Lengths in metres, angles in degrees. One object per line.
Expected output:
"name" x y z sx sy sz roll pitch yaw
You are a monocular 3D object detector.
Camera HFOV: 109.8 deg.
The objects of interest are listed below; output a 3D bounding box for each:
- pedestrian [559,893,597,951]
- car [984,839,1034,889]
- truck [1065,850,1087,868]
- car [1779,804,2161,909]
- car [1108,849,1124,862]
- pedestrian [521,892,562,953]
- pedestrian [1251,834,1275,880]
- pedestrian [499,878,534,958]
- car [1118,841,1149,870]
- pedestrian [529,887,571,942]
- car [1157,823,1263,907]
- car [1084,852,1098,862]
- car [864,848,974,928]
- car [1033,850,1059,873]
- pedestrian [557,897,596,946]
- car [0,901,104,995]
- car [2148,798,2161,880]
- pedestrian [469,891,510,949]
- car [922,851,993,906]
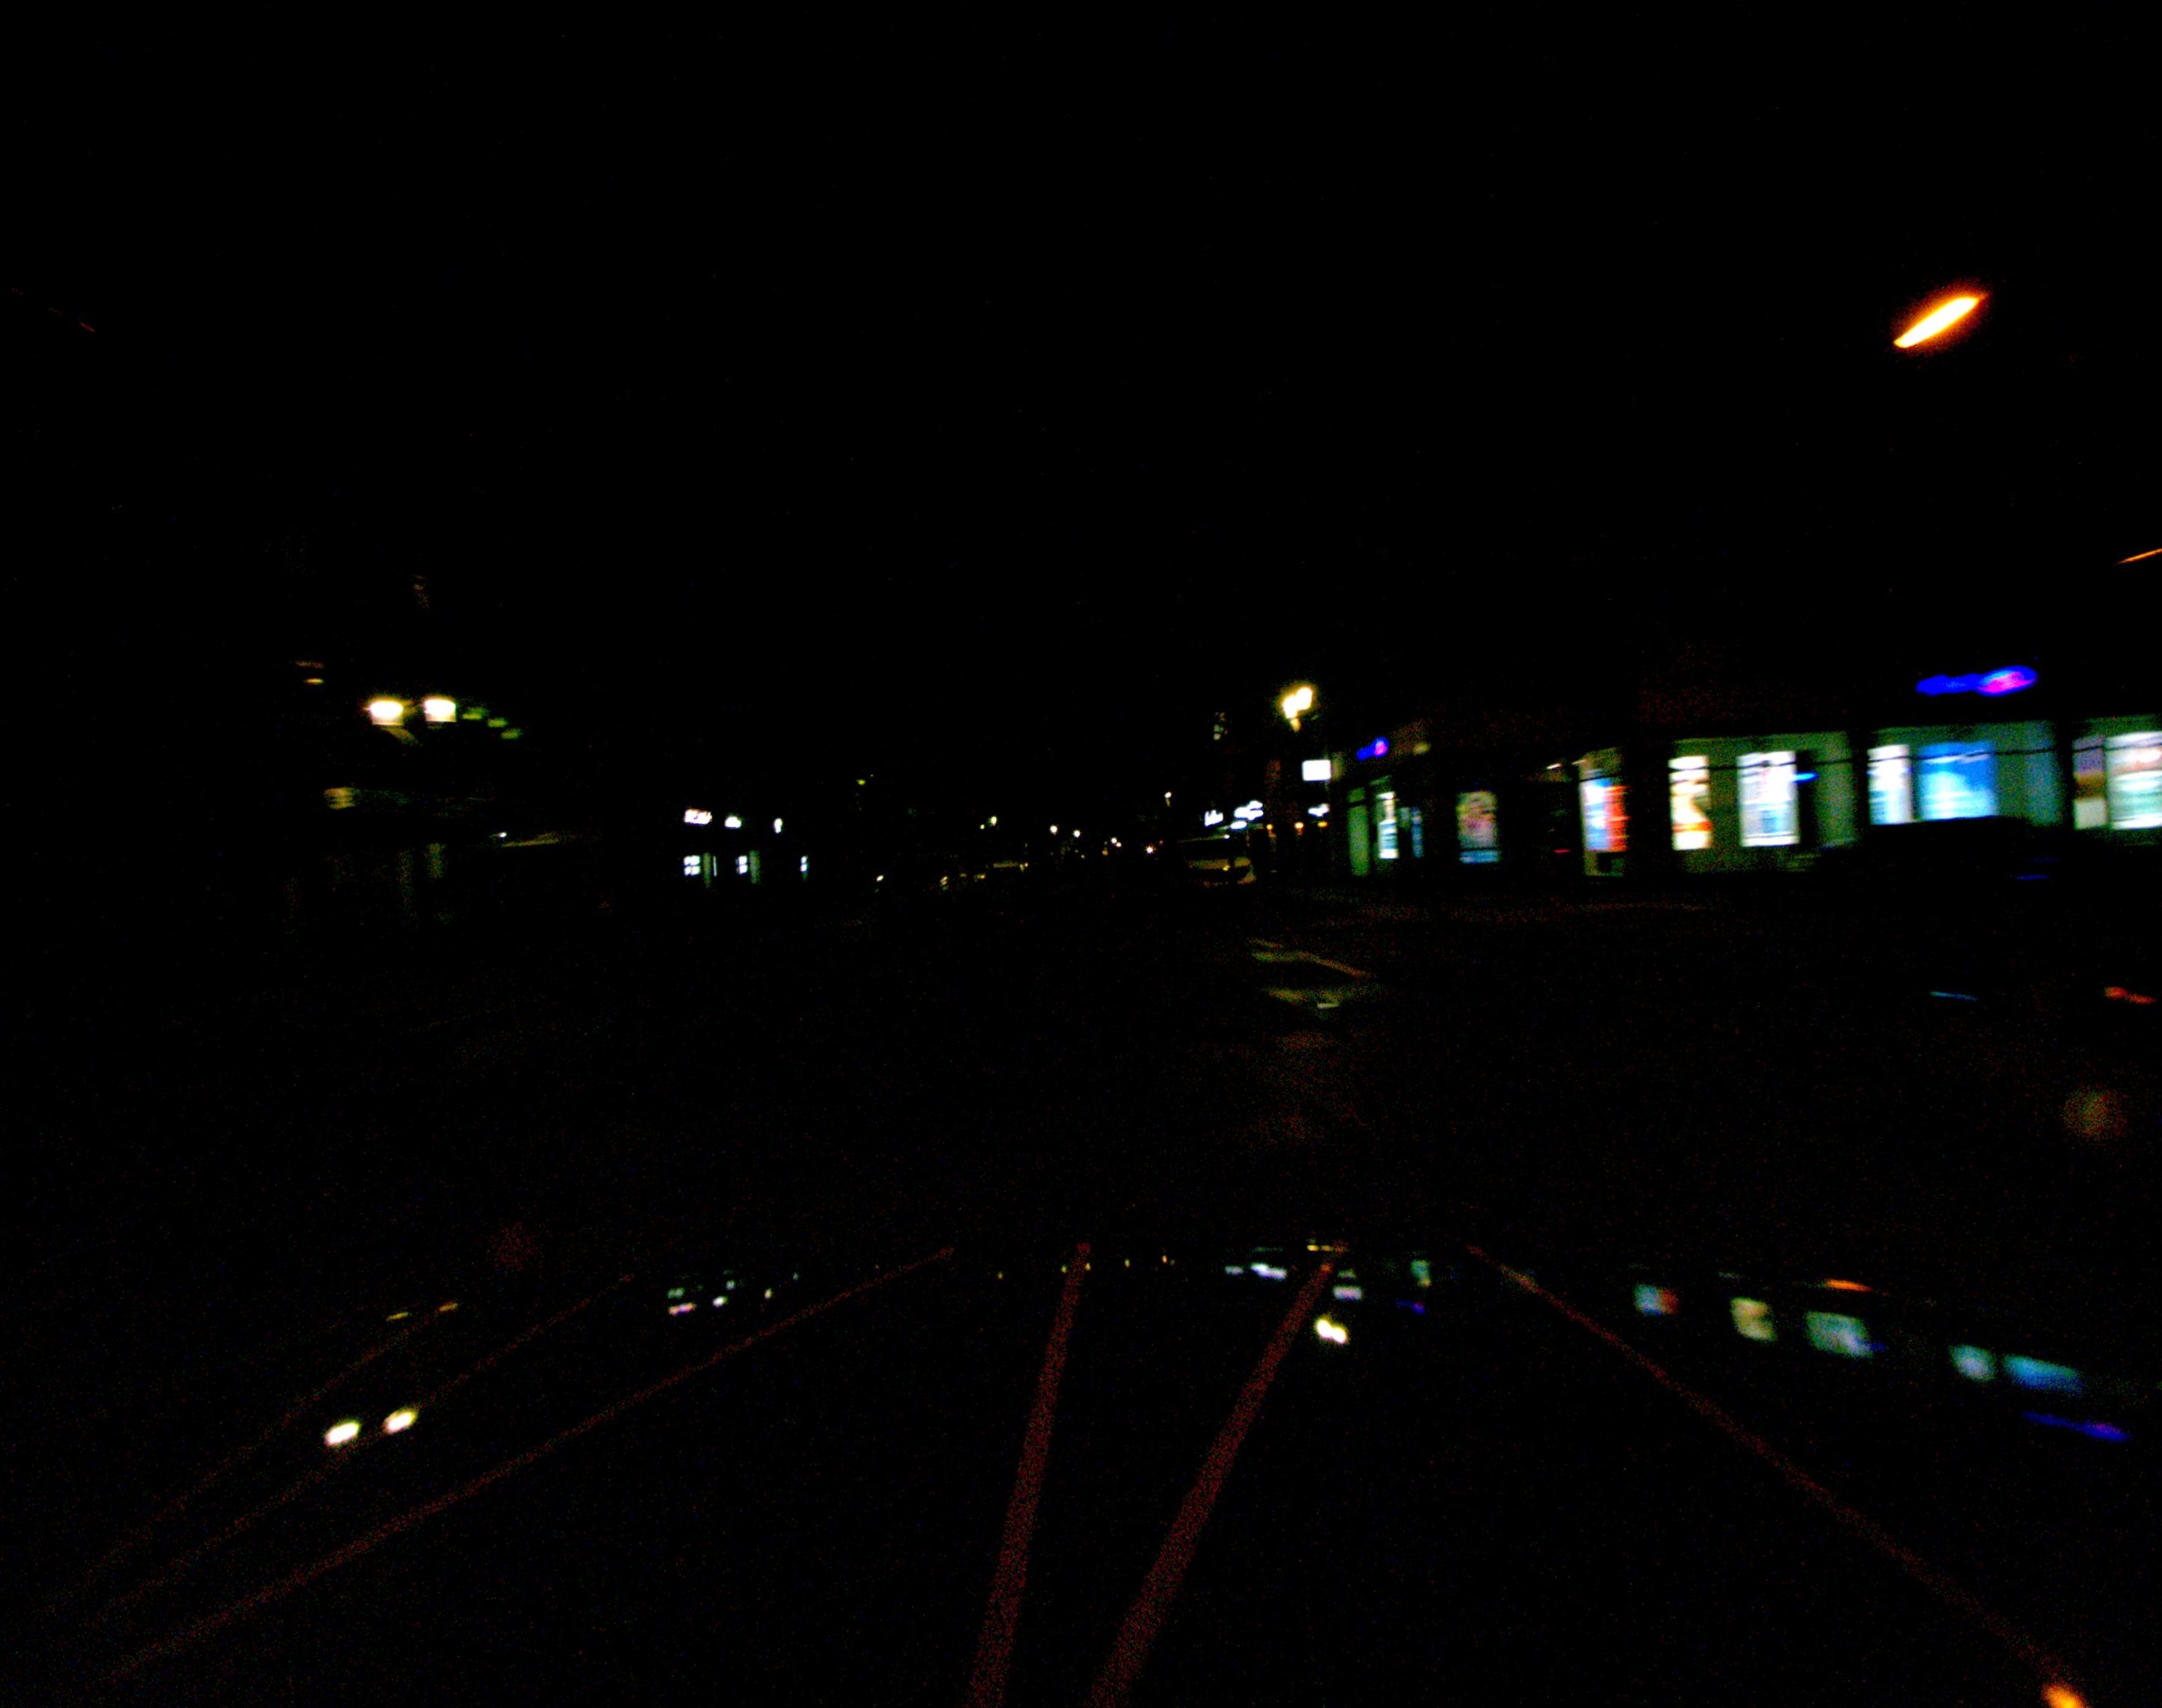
"pedestrian" -10.748 1.440 16.237 0.389 1.162 0.519 -2 1 37
"car" -3.585 0.443 38.927 2.140 2.313 5.150 -2 0 -2
"truck" -0.622 0.609 100.033 2.109 2.230 6.290 -2 0 6
"car" 14.578 0.034 12.571 4.339 1.389 1.803 -3 1 1
"car" 4.282 0.156 94.176 1.795 1.496 4.000 -3 0 2
"pedestrian" -11.756 1.484 16.556 0.528 1.256 0.503 -2 1 32
"pedestrian" 7.255 0.129 30.325 0.719 1.796 0.716 -2 1 2
"pedestrian" -11.459 1.291 15.422 0.480 1.578 0.372 -2 1 37
"car" 3.952 0.070 57.822 1.929 1.954 5.076 -4 0 1
"pedestrian" -12.698 1.433 18.165 0.682 1.256 0.530 -2 1 30
"car" 3.663 0.273 22.629 1.858 2.075 5.088 -5 1 -3
"car" 1.579 0.440 115.878 1.737 1.493 4.002 -2 0 7
"car" -4.121 0.772 20.069 1.793 1.811 4.579 -2 0 1
"car" -2.950 0.601 64.920 1.912 1.792 4.936 -2 0 1
"pedestrian" -11.315 1.508 17.056 0.528 1.047 0.503 -2 1 32
"car" -20.449 1.691 13.393 4.153 1.540 1.804 -2 -1 1
"car" 20.989 -0.365 12.540 4.146 1.428 1.803 -3 1 1
"pedestrian" -13.486 1.492 17.320 0.501 1.256 0.530 -2 1 30
"car" -4.167 0.769 26.192 1.688 1.650 4.296 -2 0 0
